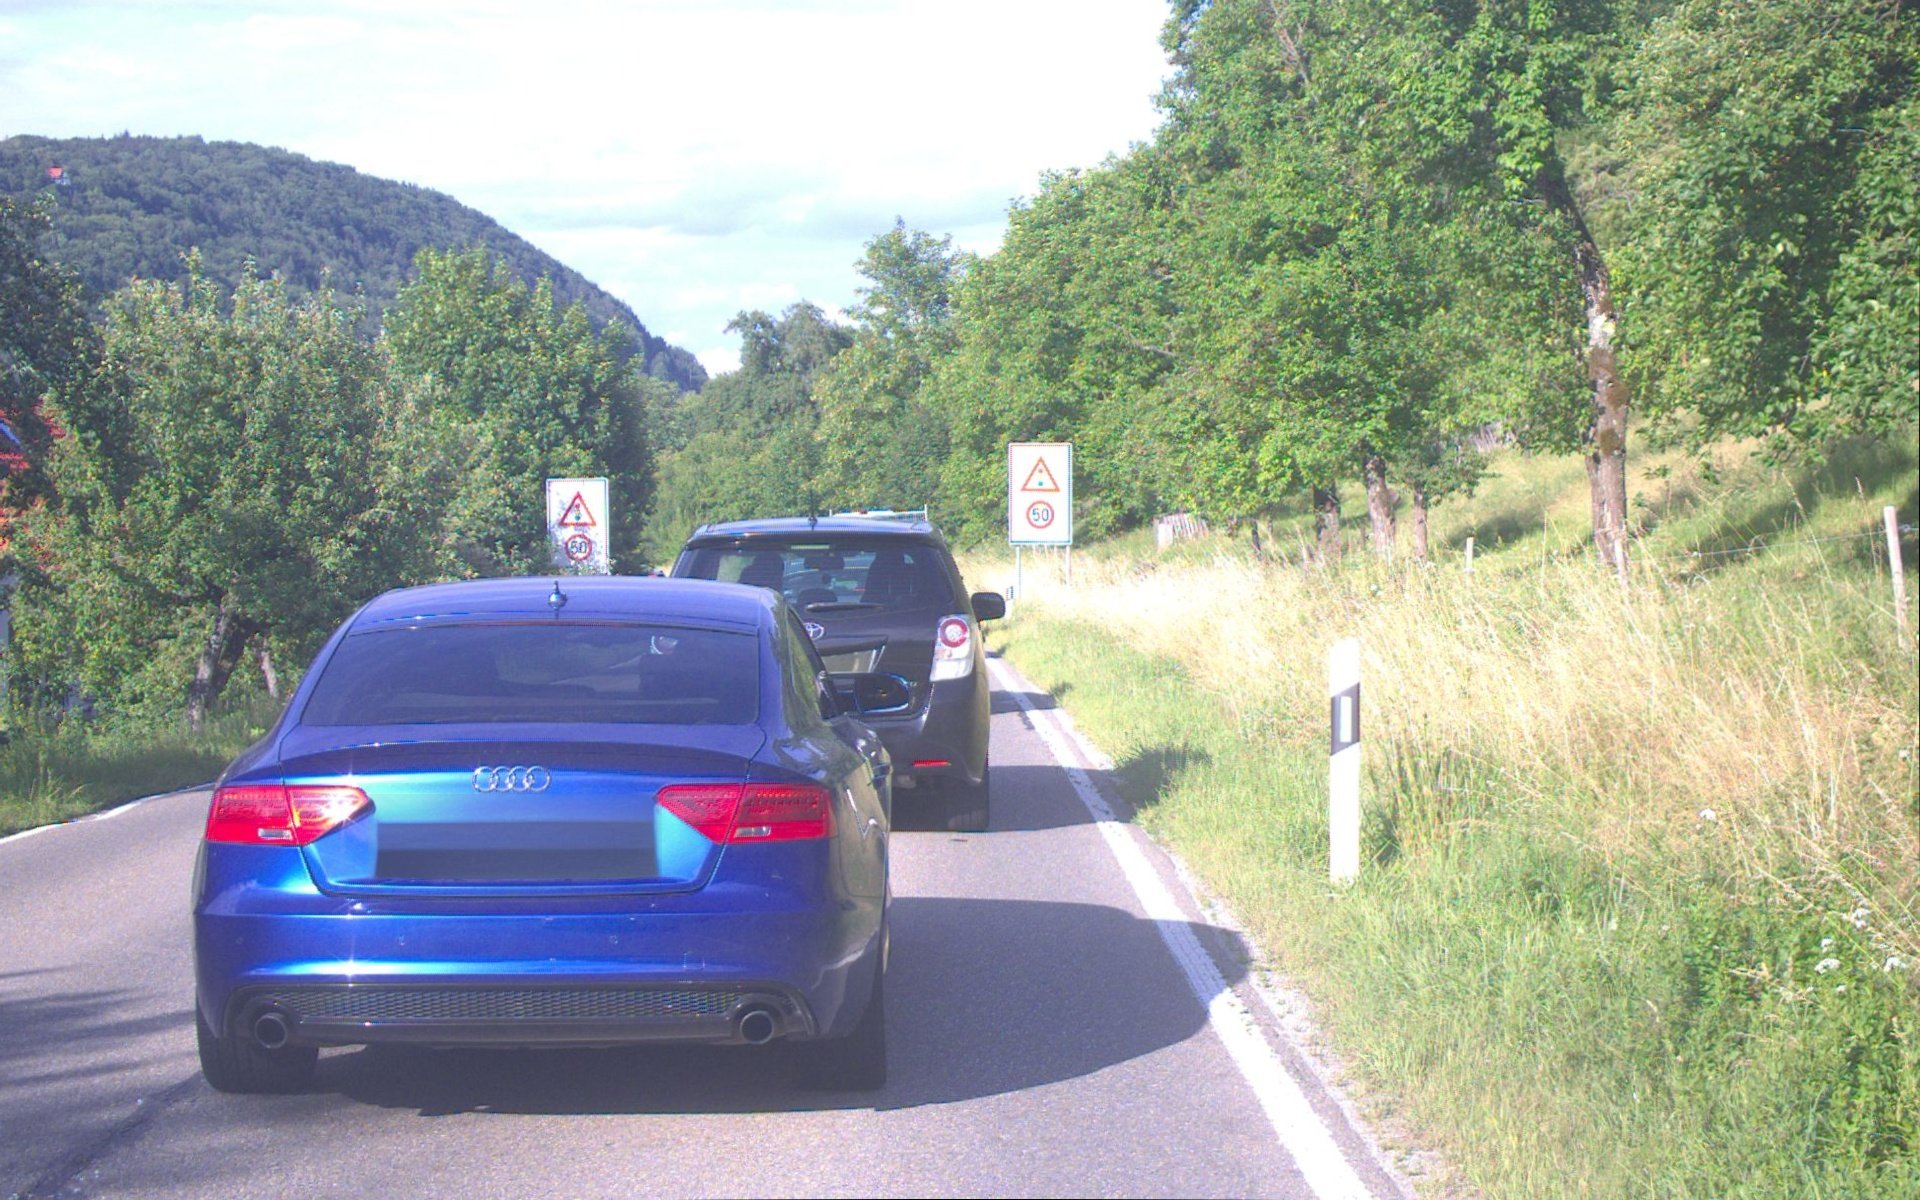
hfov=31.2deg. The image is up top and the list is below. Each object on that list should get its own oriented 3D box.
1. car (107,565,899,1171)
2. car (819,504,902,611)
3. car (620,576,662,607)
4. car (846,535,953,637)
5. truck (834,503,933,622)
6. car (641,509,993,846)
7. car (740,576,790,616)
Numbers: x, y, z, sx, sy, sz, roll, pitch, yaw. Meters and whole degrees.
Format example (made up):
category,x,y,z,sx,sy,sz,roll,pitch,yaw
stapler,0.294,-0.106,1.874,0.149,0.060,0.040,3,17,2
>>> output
category,x,y,z,sx,sy,sz,roll,pitch,yaw
car,-1.109,0.608,10.174,1.805,1.377,4.215,0,1,0
car,-2.382,-1.016,81.522,1.792,2.445,3.920,1,1,-4
car,-15.913,-0.430,171.205,1.558,1.490,3.779,1,1,-13
car,-0.996,-0.256,56.319,1.692,1.618,3.789,0,1,-1
truck,-1.604,-0.789,71.515,1.950,2.337,5.094,1,1,-2
car,-0.719,0.335,18.436,1.692,1.618,3.789,0,1,-1
car,-7.788,-0.157,137.021,1.558,1.490,3.779,1,1,-9
